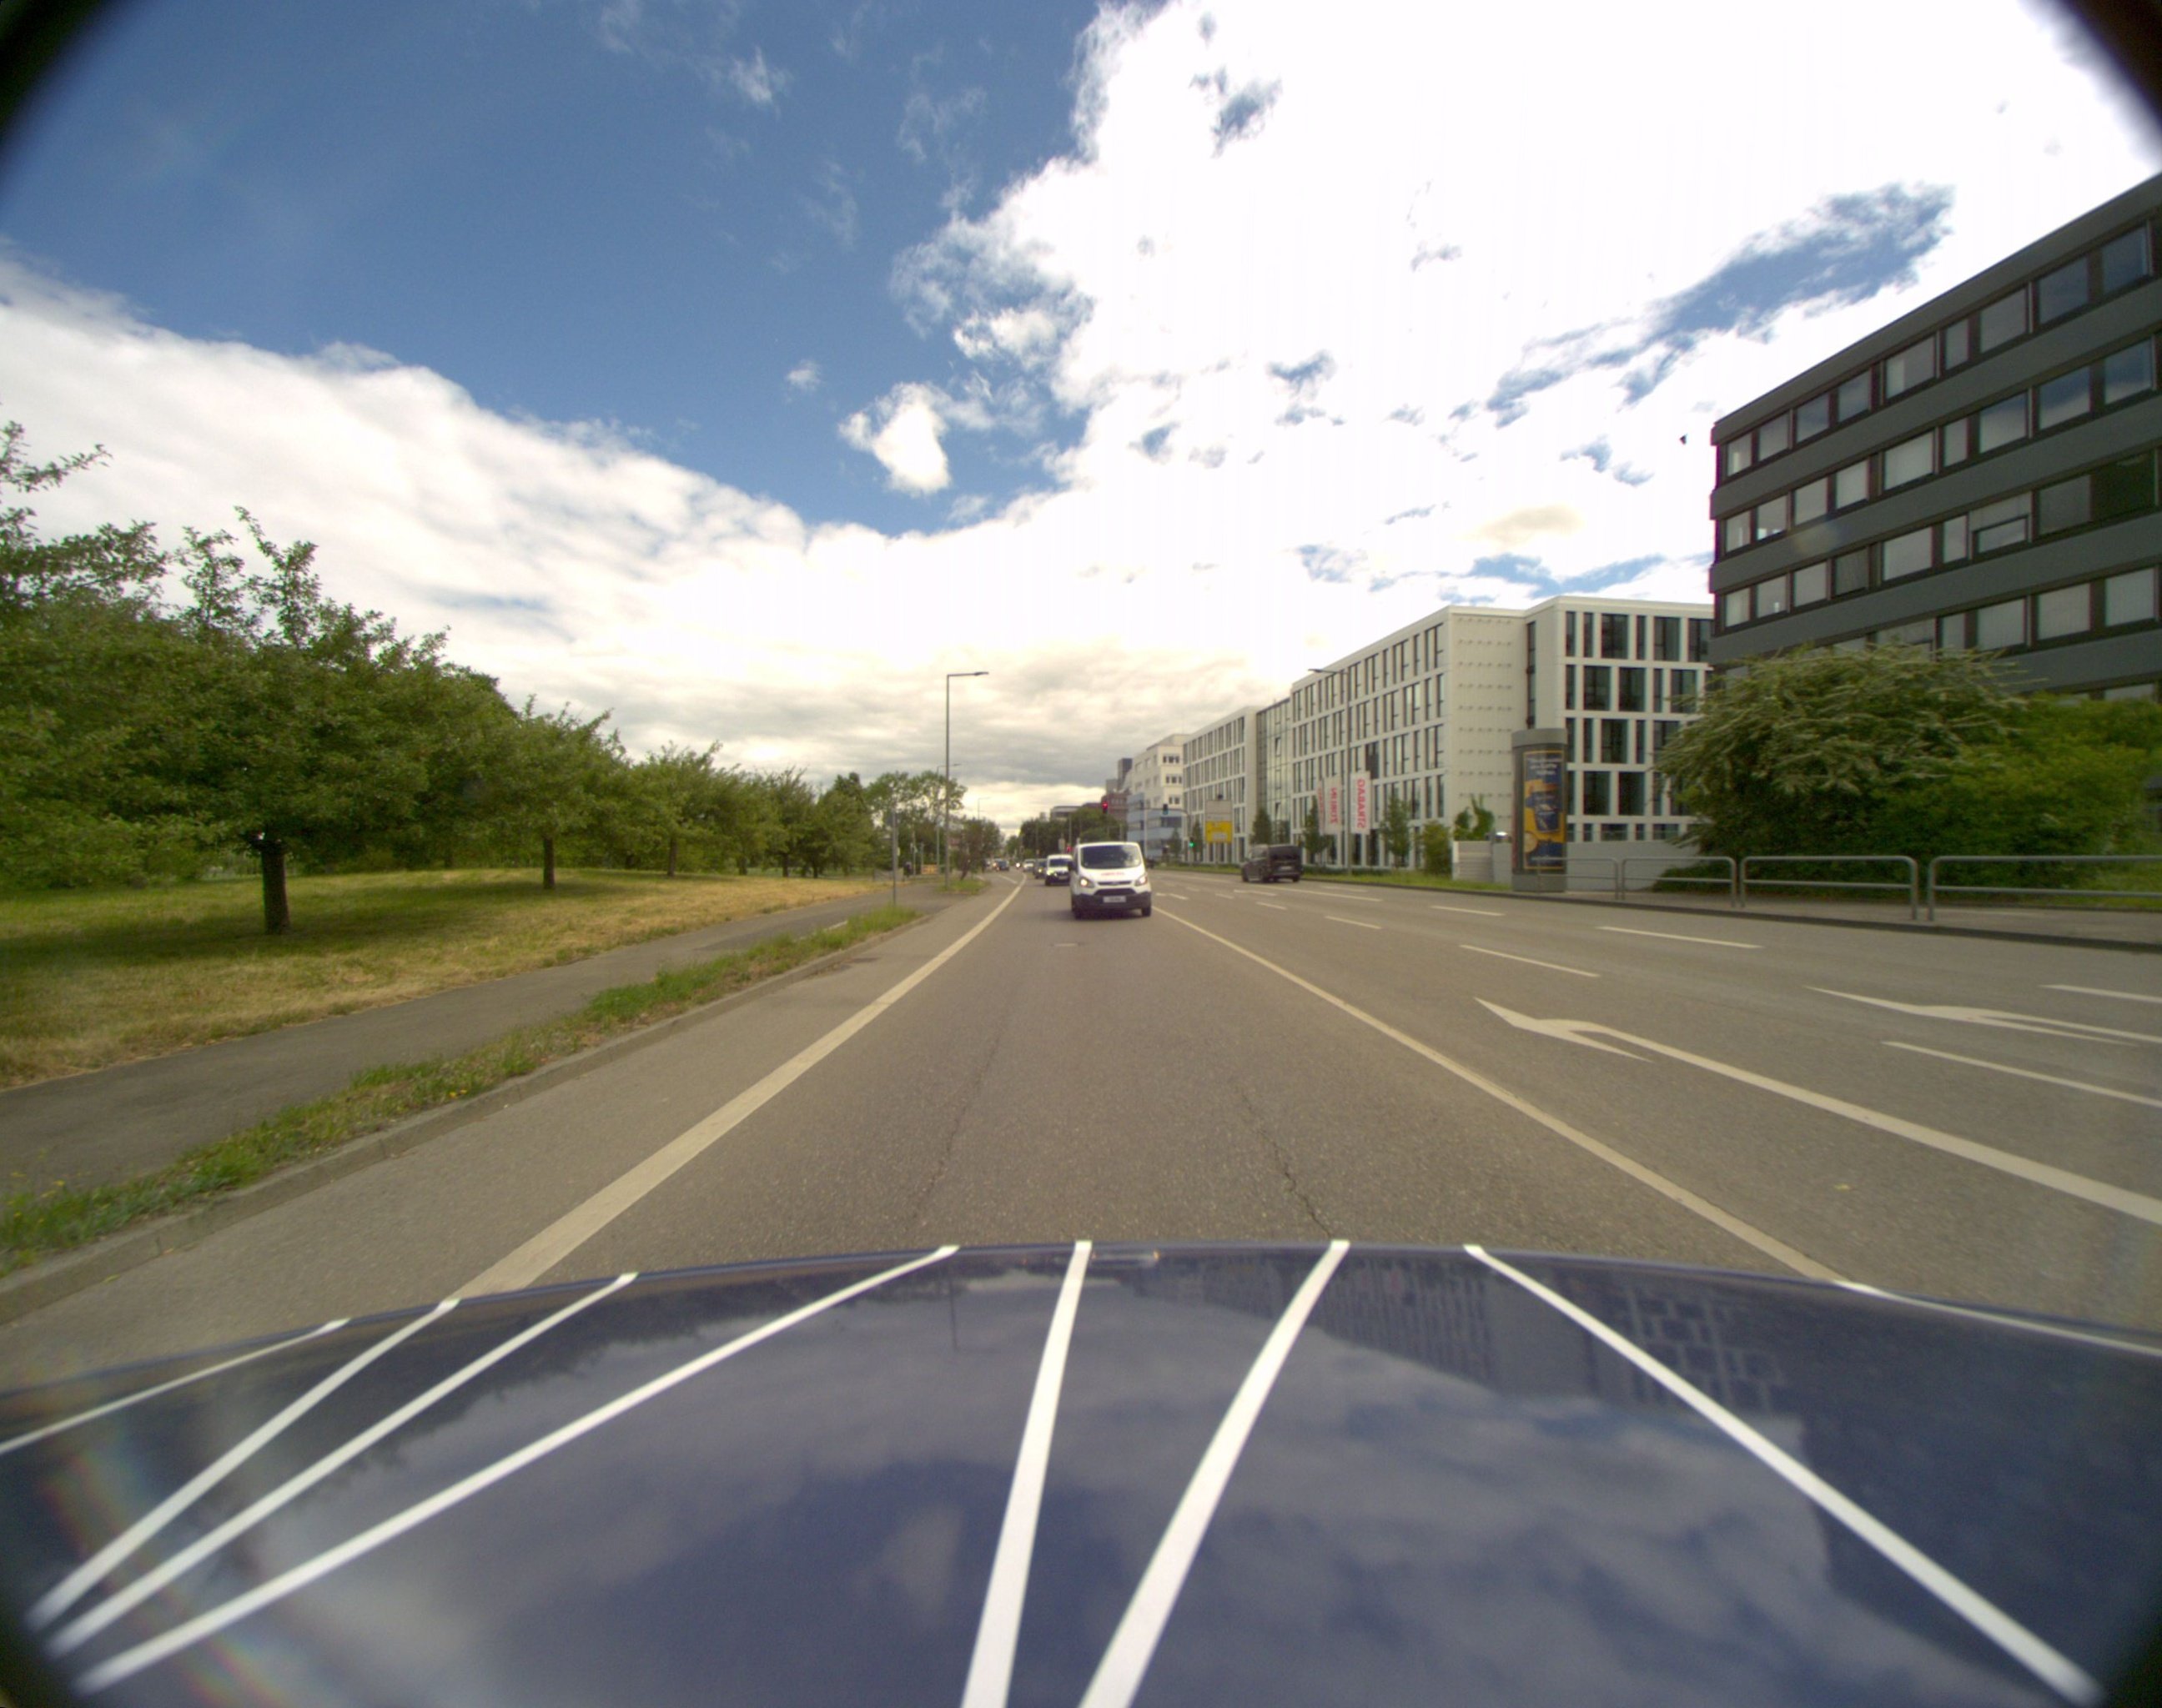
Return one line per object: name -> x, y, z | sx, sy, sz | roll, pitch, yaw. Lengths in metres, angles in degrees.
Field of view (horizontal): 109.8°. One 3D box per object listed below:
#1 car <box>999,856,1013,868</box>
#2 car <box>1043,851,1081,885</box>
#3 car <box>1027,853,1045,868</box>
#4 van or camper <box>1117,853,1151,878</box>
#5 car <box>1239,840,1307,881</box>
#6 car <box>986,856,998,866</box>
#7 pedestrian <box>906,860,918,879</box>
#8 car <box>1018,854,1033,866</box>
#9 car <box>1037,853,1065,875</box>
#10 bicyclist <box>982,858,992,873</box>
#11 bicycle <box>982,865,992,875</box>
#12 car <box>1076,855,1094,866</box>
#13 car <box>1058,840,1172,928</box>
car -> -9.966, 1.024, 100.332 | 1.736, 1.432, 4.366 | -2, 0, -6
car -> -1.184, 0.782, 44.811 | 1.873, 1.836, 4.369 | -2, 0, -6
car -> -5.406, 0.804, 90.322 | 1.873, 1.685, 4.369 | -2, 0, -6
van or camper -> 3.616, 0.743, 52.360 | 1.749, 1.600, 4.044 | -2, 0, -4
car -> 9.830, 0.313, 39.349 | 2.023, 1.936, 5.364 | -1, 0, -2
car -> -13.440, 1.065, 114.853 | 1.736, 1.432, 4.366 | -2, 0, -6
pedestrian -> -16.970, 1.584, 76.144 | 0.798, 1.872, 0.767 | -1, 1, 41
car -> -8.457, 0.903, 115.265 | 1.873, 1.685, 4.368 | -2, 0, -8
car -> -2.470, 0.808, 61.742 | 1.873, 1.685, 4.369 | -2, 0, -6
bicyclist -> -10.838, 1.318, 87.335 | 1.017, 1.698, 1.200 | 0, 0, -11
bicycle -> -10.824, 1.857, 87.300 | 1.017, 1.127, 2.673 | 0, 0, -11
car -> 0.510, 0.868, 103.605 | 1.750, 1.347, 3.637 | -2, 0, -10
car -> 0.701, 0.701, 20.653 | 2.123, 1.963, 6.203 | -2, 0, -6
